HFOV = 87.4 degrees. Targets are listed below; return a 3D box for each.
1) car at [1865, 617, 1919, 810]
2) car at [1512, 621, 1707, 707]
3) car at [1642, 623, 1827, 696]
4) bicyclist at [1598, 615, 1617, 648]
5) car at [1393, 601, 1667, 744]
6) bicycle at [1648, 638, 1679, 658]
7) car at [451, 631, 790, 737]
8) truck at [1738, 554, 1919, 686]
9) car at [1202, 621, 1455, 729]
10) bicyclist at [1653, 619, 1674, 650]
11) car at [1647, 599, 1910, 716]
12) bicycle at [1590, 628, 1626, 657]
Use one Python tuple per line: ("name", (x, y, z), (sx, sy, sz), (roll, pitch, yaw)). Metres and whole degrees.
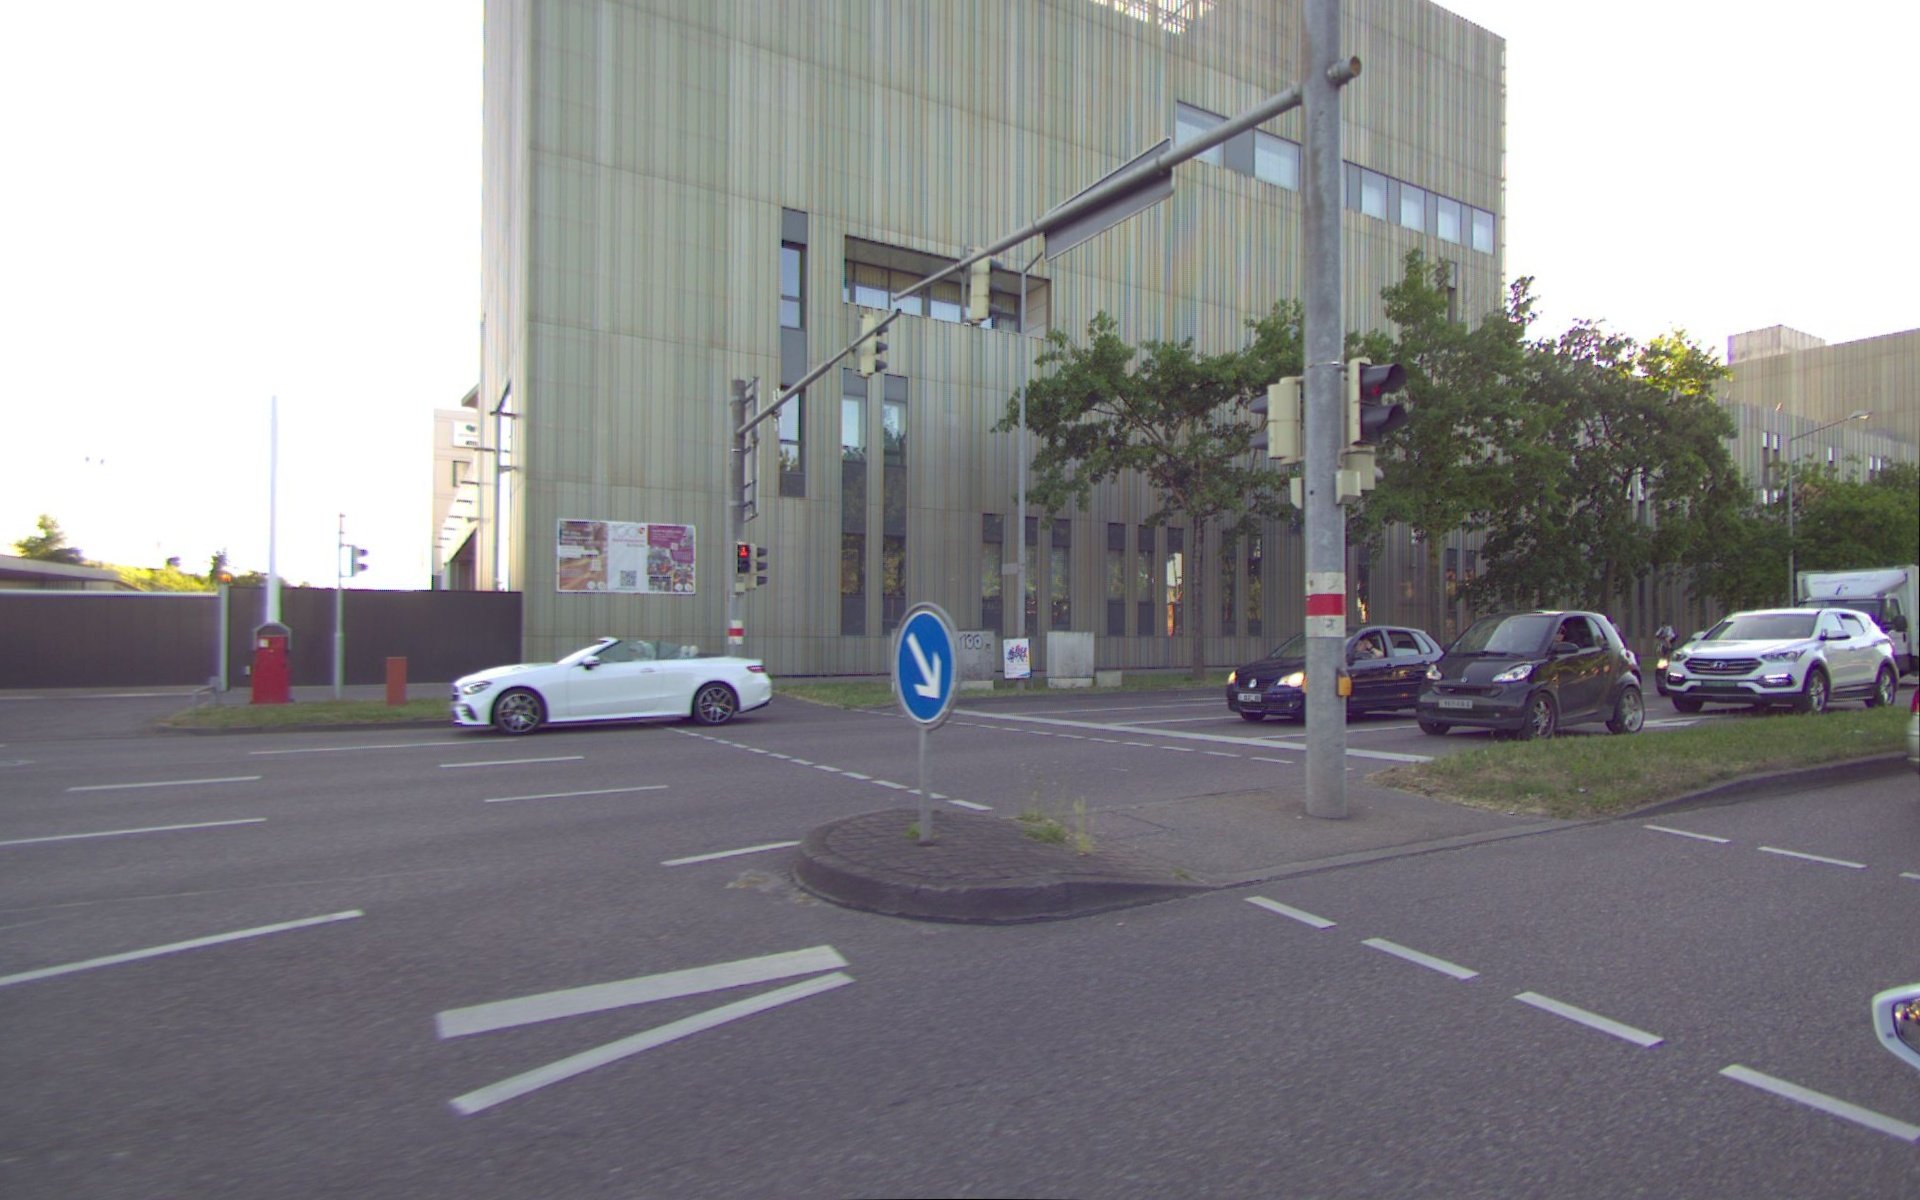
("car", (9.456, 0.910, 8.248), (4.113, 1.476, 1.832), (1, 0, -30))
("car", (12.357, 1.180, 19.086), (3.596, 1.488, 1.613), (1, -3, -30))
("car", (16.911, 1.259, 21.910), (3.953, 1.442, 1.827), (0, -3, -30))
("bicyclist", (29.930, 1.450, 46.407), (0.637, 1.527, 0.505), (0, -1, -31))
("car", (7.243, 0.867, 12.745), (3.174, 1.601, 1.595), (1, -3, -29))
("bicycle", (32.486, 2.200, 46.389), (1.734, 0.902, 0.509), (1, -1, -31))
("car", (-5.241, 1.230, 15.776), (4.824, 1.460, 1.695), (1, -3, -30))
("truck", (23.134, 0.573, 25.579), (7.028, 2.999, 2.675), (1, -3, -30))
("car", (5.667, 1.083, 15.389), (3.711, 1.460, 1.694), (1, -3, -31))
("bicyclist", (32.487, 1.590, 46.398), (0.744, 1.461, 0.505), (0, -1, -31))
("car", (13.559, 0.925, 16.585), (4.604, 1.704, 1.816), (1, -3, -30))
("bicycle", (29.915, 1.964, 46.381), (2.075, 1.287, 0.509), (1, -1, -31))
